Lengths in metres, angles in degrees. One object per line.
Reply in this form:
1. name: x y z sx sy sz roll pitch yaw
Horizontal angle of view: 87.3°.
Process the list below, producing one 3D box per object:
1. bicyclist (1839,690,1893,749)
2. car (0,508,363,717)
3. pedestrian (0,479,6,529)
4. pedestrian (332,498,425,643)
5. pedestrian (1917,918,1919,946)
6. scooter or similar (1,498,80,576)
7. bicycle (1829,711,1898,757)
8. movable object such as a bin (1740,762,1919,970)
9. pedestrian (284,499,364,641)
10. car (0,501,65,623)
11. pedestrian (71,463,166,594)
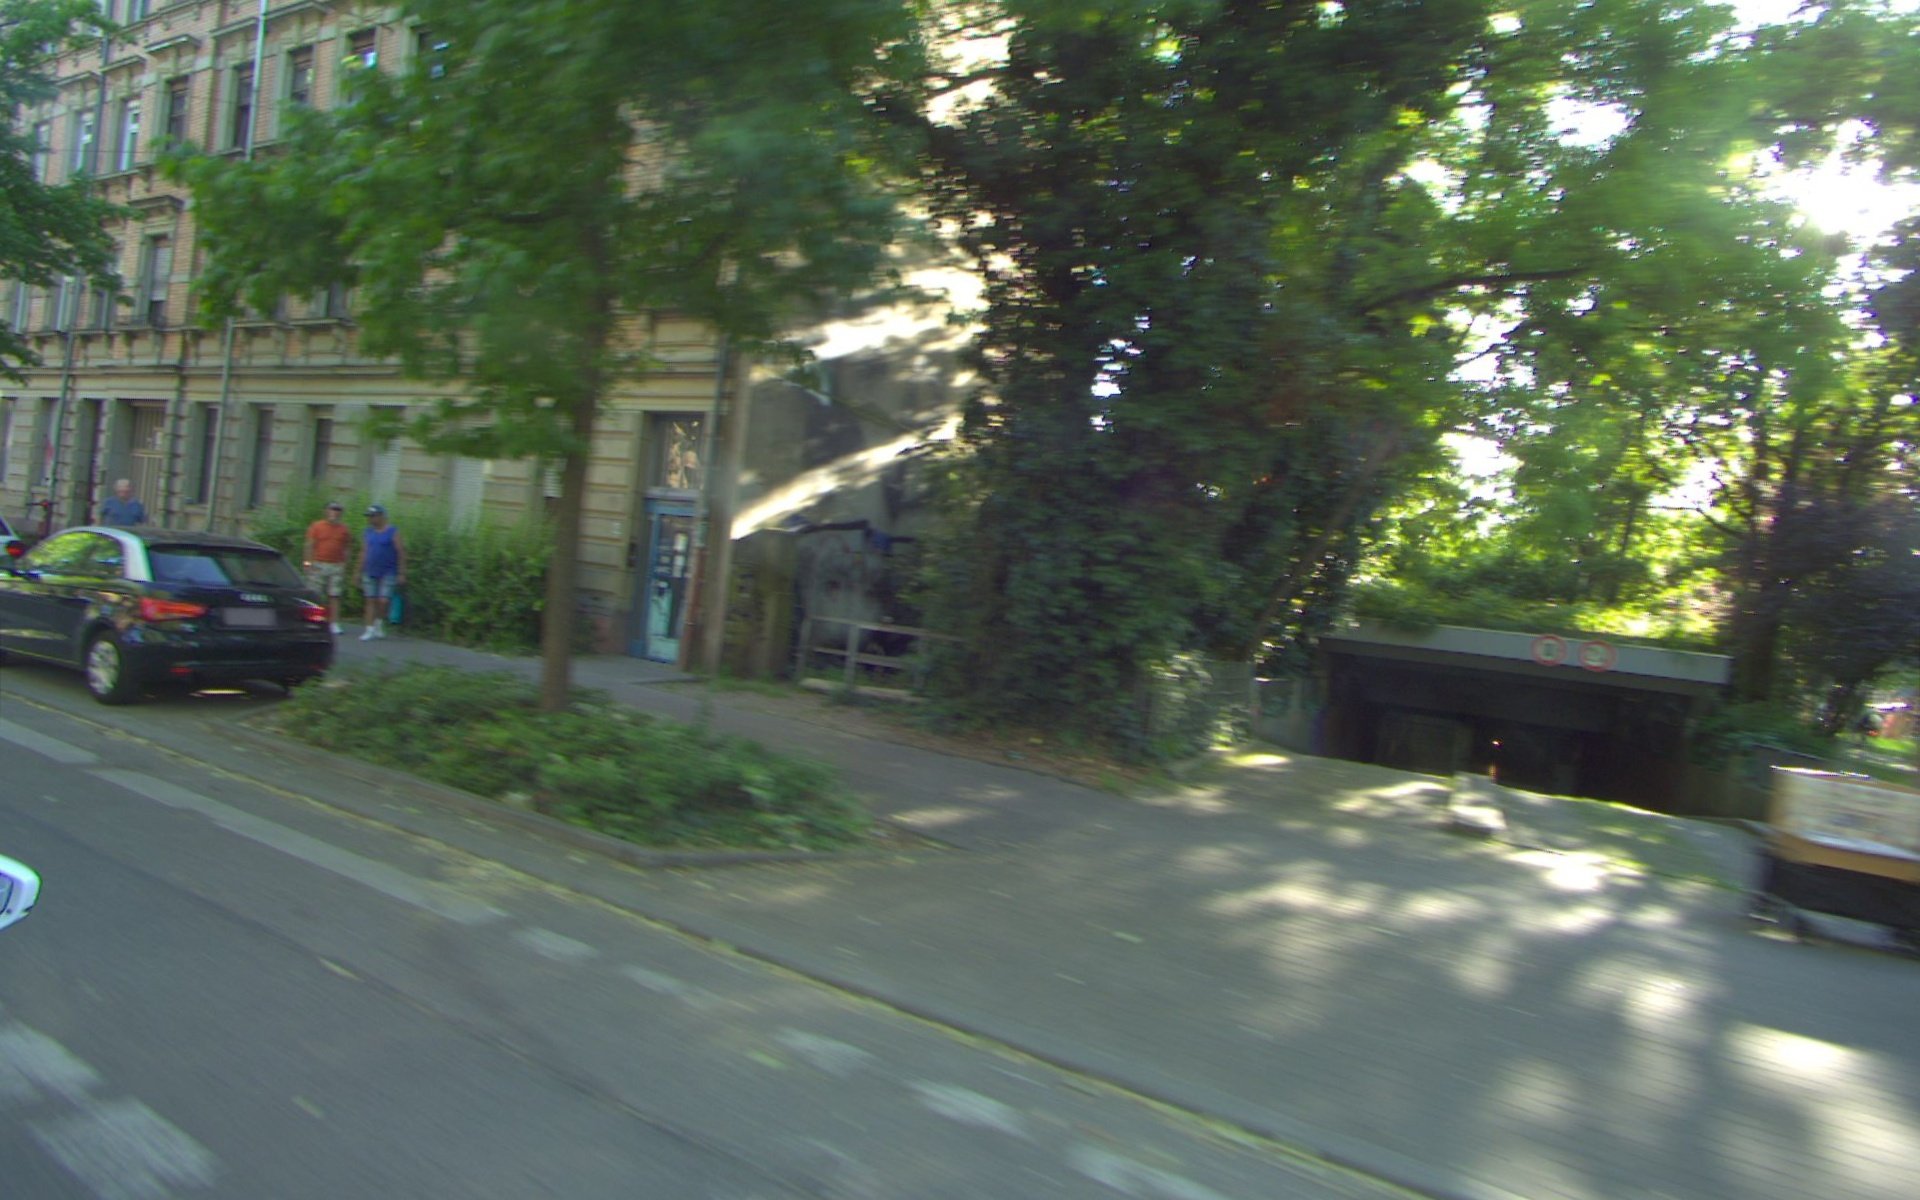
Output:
1. bicyclist: 29.476 3.865 32.748 0.920 1.765 1.067 7 -1 28
2. car: -7.540 0.018 9.283 3.775 1.431 1.675 7 2 27
3. pedestrian: -17.687 -1.362 17.890 0.842 1.729 0.727 7 -1 33
4. pedestrian: -7.779 -0.389 13.464 0.715 1.814 0.600 7 -1 26
5. pedestrian: 6.779 1.500 6.534 0.545 1.746 0.618 7 -1 31
6. scooter or similar: -16.801 -1.159 18.383 1.312 1.261 0.577 7 -1 30
7. bicycle: 29.482 4.341 32.869 0.920 1.280 2.688 7 -2 28
8. movable object such as a bin: 5.953 1.746 6.701 0.939 1.139 0.668 7 -1 21
9. pedestrian: -8.643 -0.399 13.672 0.722 1.814 0.595 7 -1 -34
10. car: -13.118 -0.638 12.356 4.036 1.386 1.886 7 2 28
11. pedestrian: -12.593 -1.047 15.069 0.589 1.814 0.728 7 -1 -1
